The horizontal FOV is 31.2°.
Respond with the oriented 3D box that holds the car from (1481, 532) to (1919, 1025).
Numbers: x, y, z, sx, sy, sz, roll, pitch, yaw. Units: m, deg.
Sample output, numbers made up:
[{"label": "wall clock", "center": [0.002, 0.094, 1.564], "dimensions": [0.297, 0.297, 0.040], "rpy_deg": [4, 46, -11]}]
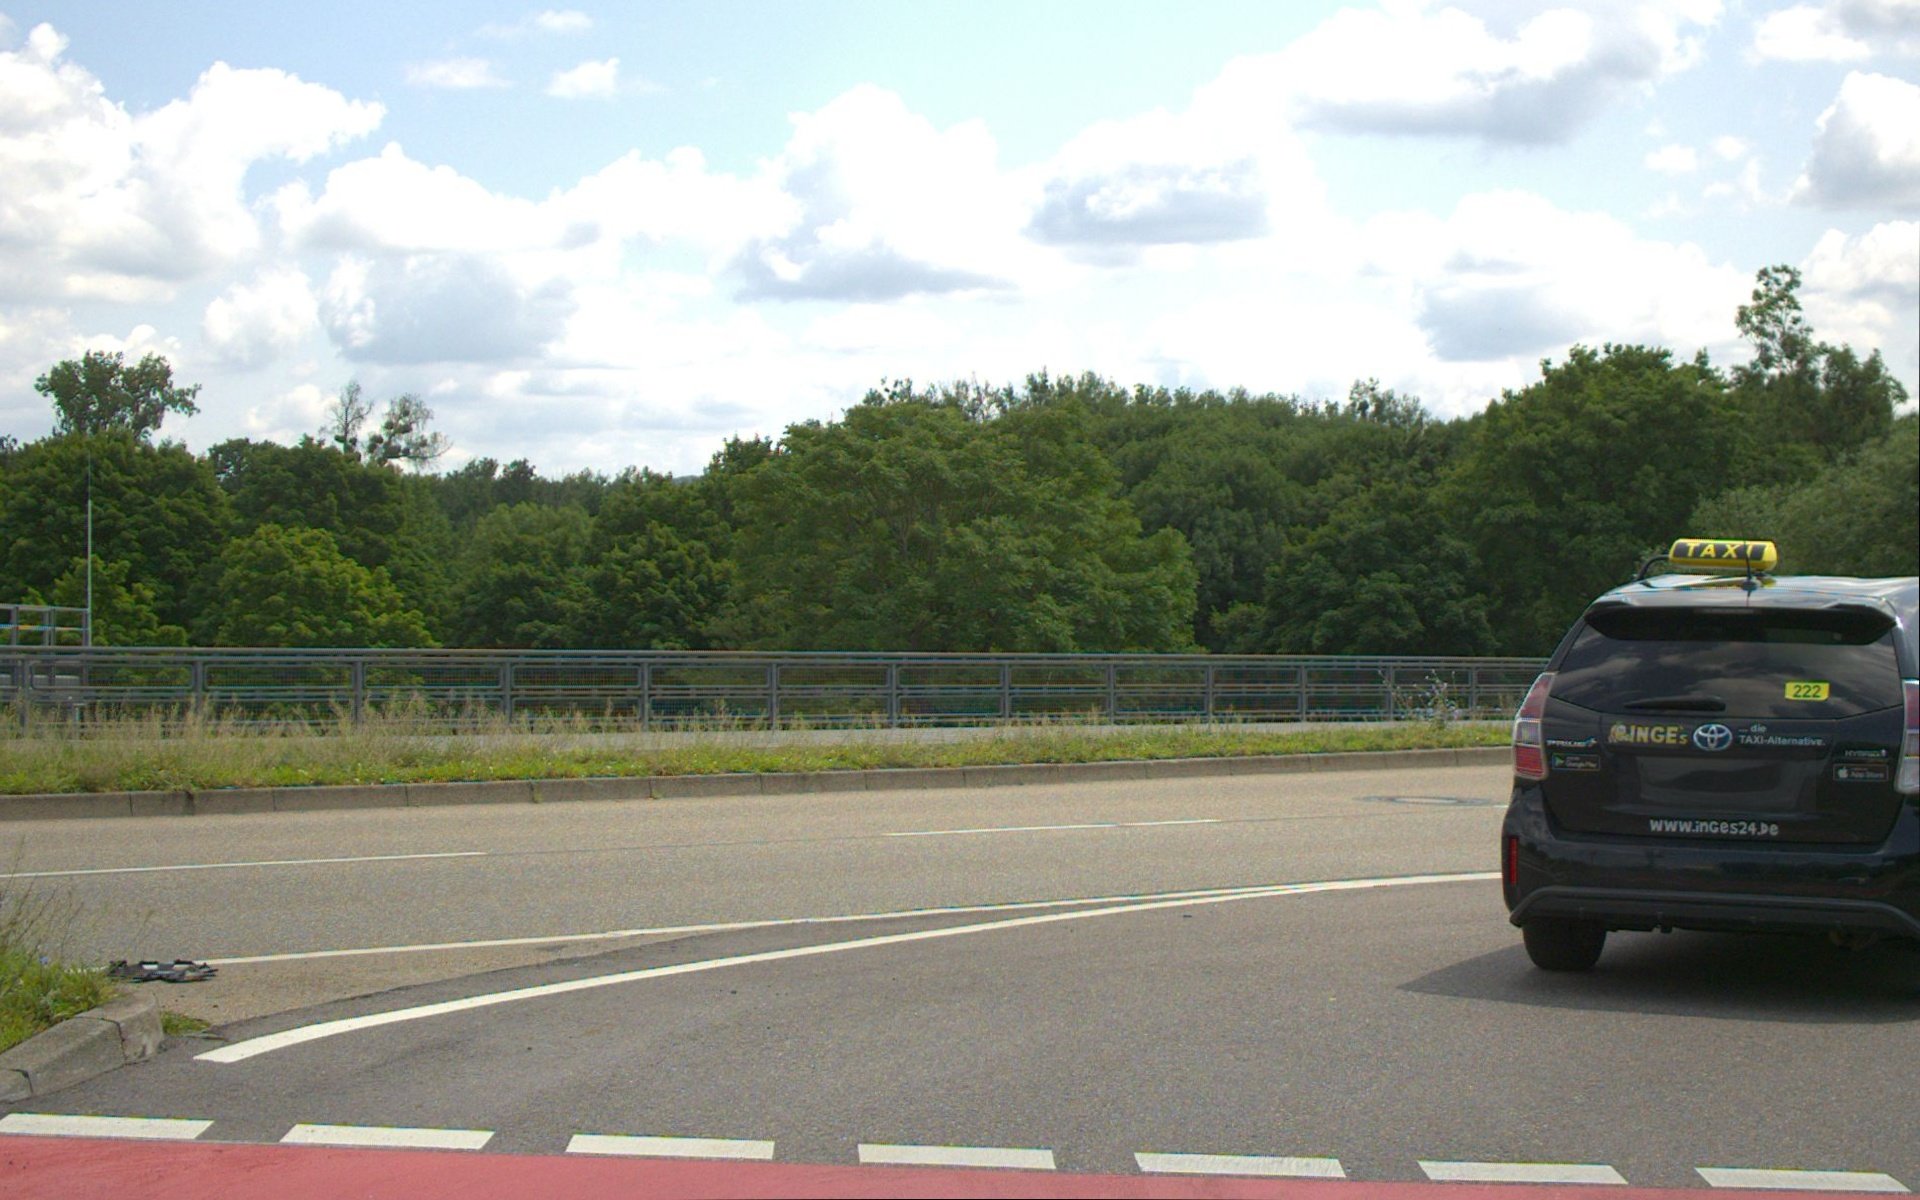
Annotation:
[{"label": "car", "center": [3.534, 0.600, 13.864], "dimensions": [1.782, 1.678, 3.995], "rpy_deg": [1, 1, 25]}]
